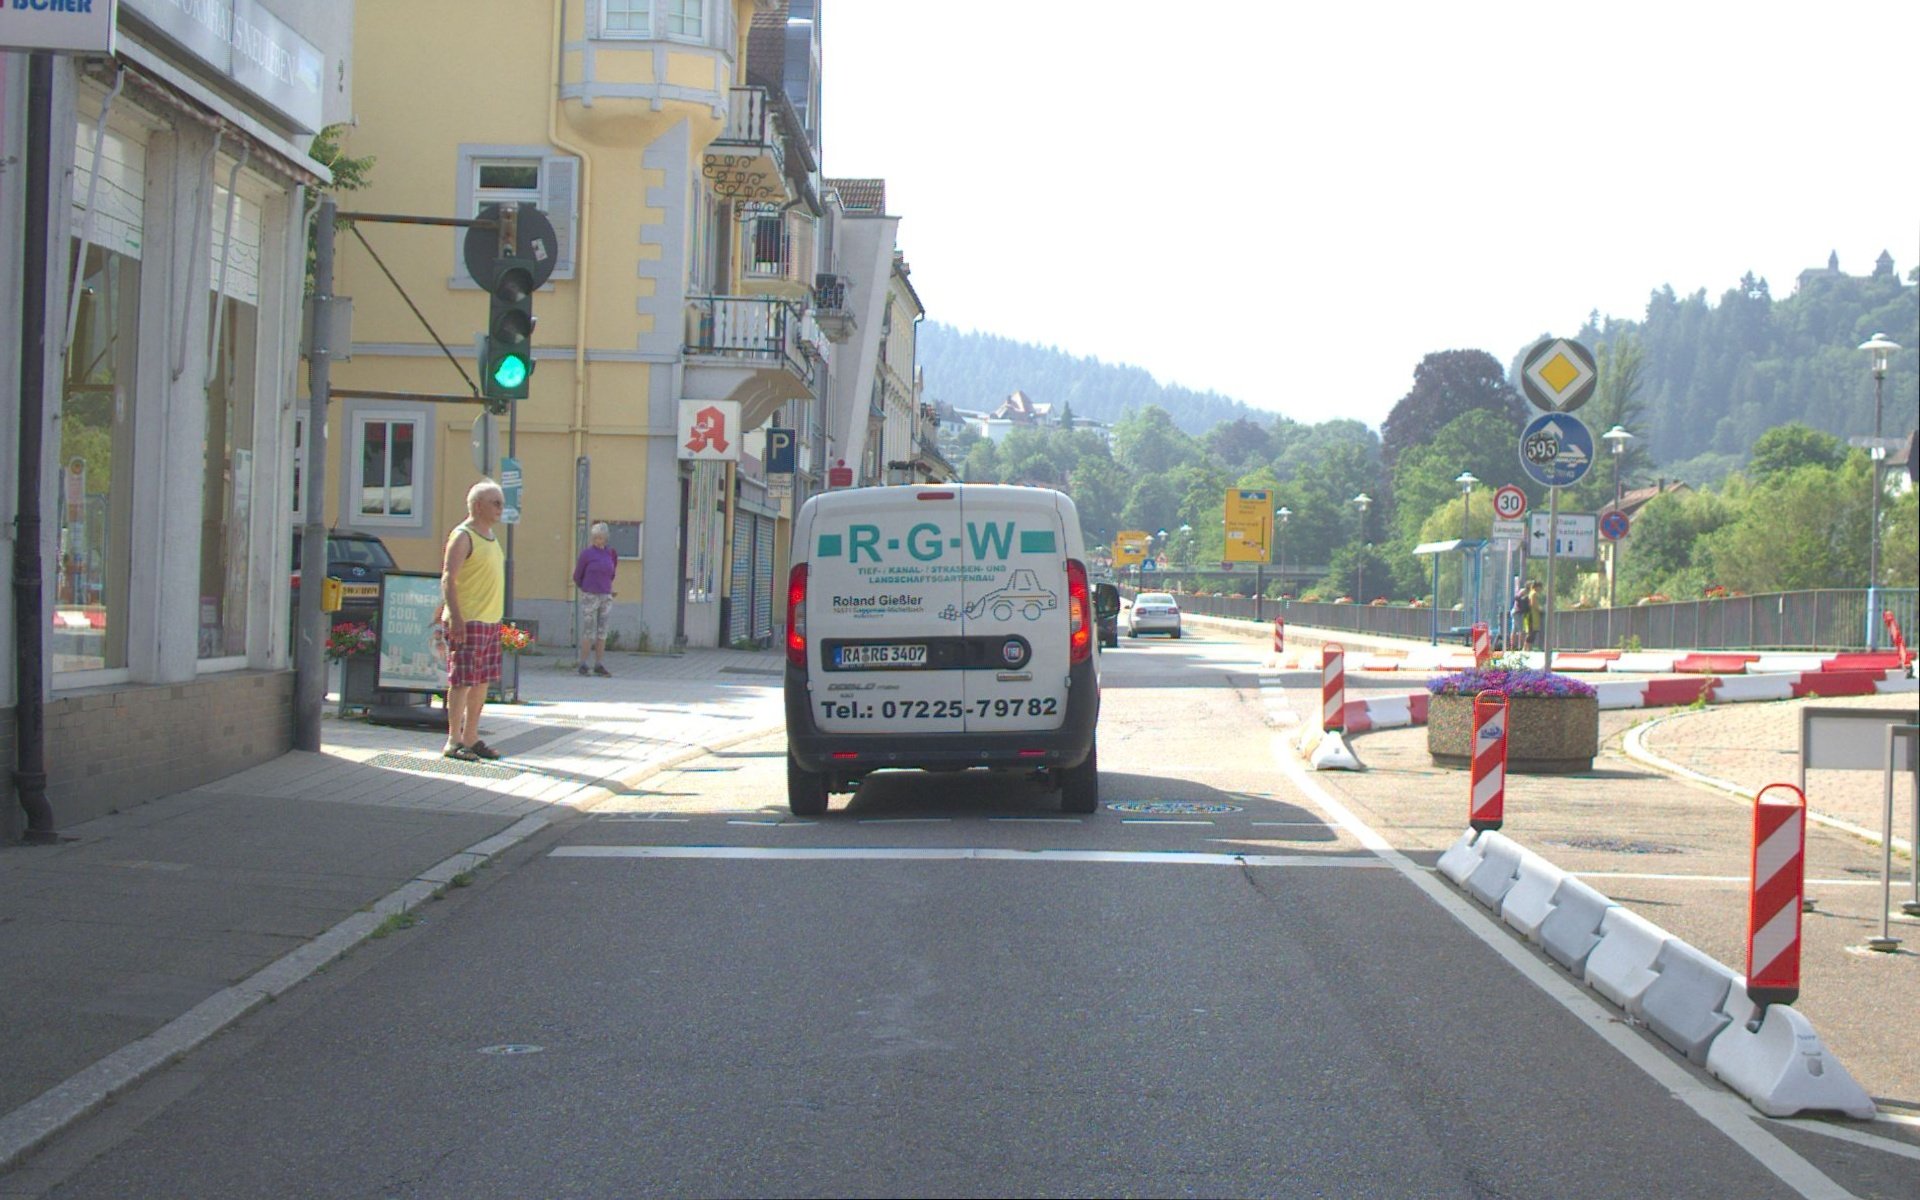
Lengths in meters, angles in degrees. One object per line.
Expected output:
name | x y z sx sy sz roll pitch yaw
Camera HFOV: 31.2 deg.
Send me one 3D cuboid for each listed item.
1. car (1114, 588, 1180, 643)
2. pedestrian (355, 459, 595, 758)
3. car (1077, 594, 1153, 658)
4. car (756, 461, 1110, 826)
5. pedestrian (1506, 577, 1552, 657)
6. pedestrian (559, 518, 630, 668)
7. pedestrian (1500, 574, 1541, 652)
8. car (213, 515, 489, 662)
car | 6.112 0.490 112.743 1.993 1.656 4.000 2 0 2
pedestrian | -3.159 0.062 22.410 1.020 1.809 0.906 7 0 31
car | 4.313 0.711 96.009 1.993 1.656 4.000 2 0 2
car | -0.056 0.192 20.712 1.844 1.899 4.314 2 1 2
pedestrian | 12.410 0.373 75.036 0.867 1.700 0.777 2 0 3
pedestrian | -4.256 -0.088 40.050 0.678 1.709 0.617 2 1 3
pedestrian | 12.332 0.281 75.687 0.789 1.700 0.491 2 0 3
car | -7.536 -0.164 42.256 1.917 1.537 3.959 2 2 -32
